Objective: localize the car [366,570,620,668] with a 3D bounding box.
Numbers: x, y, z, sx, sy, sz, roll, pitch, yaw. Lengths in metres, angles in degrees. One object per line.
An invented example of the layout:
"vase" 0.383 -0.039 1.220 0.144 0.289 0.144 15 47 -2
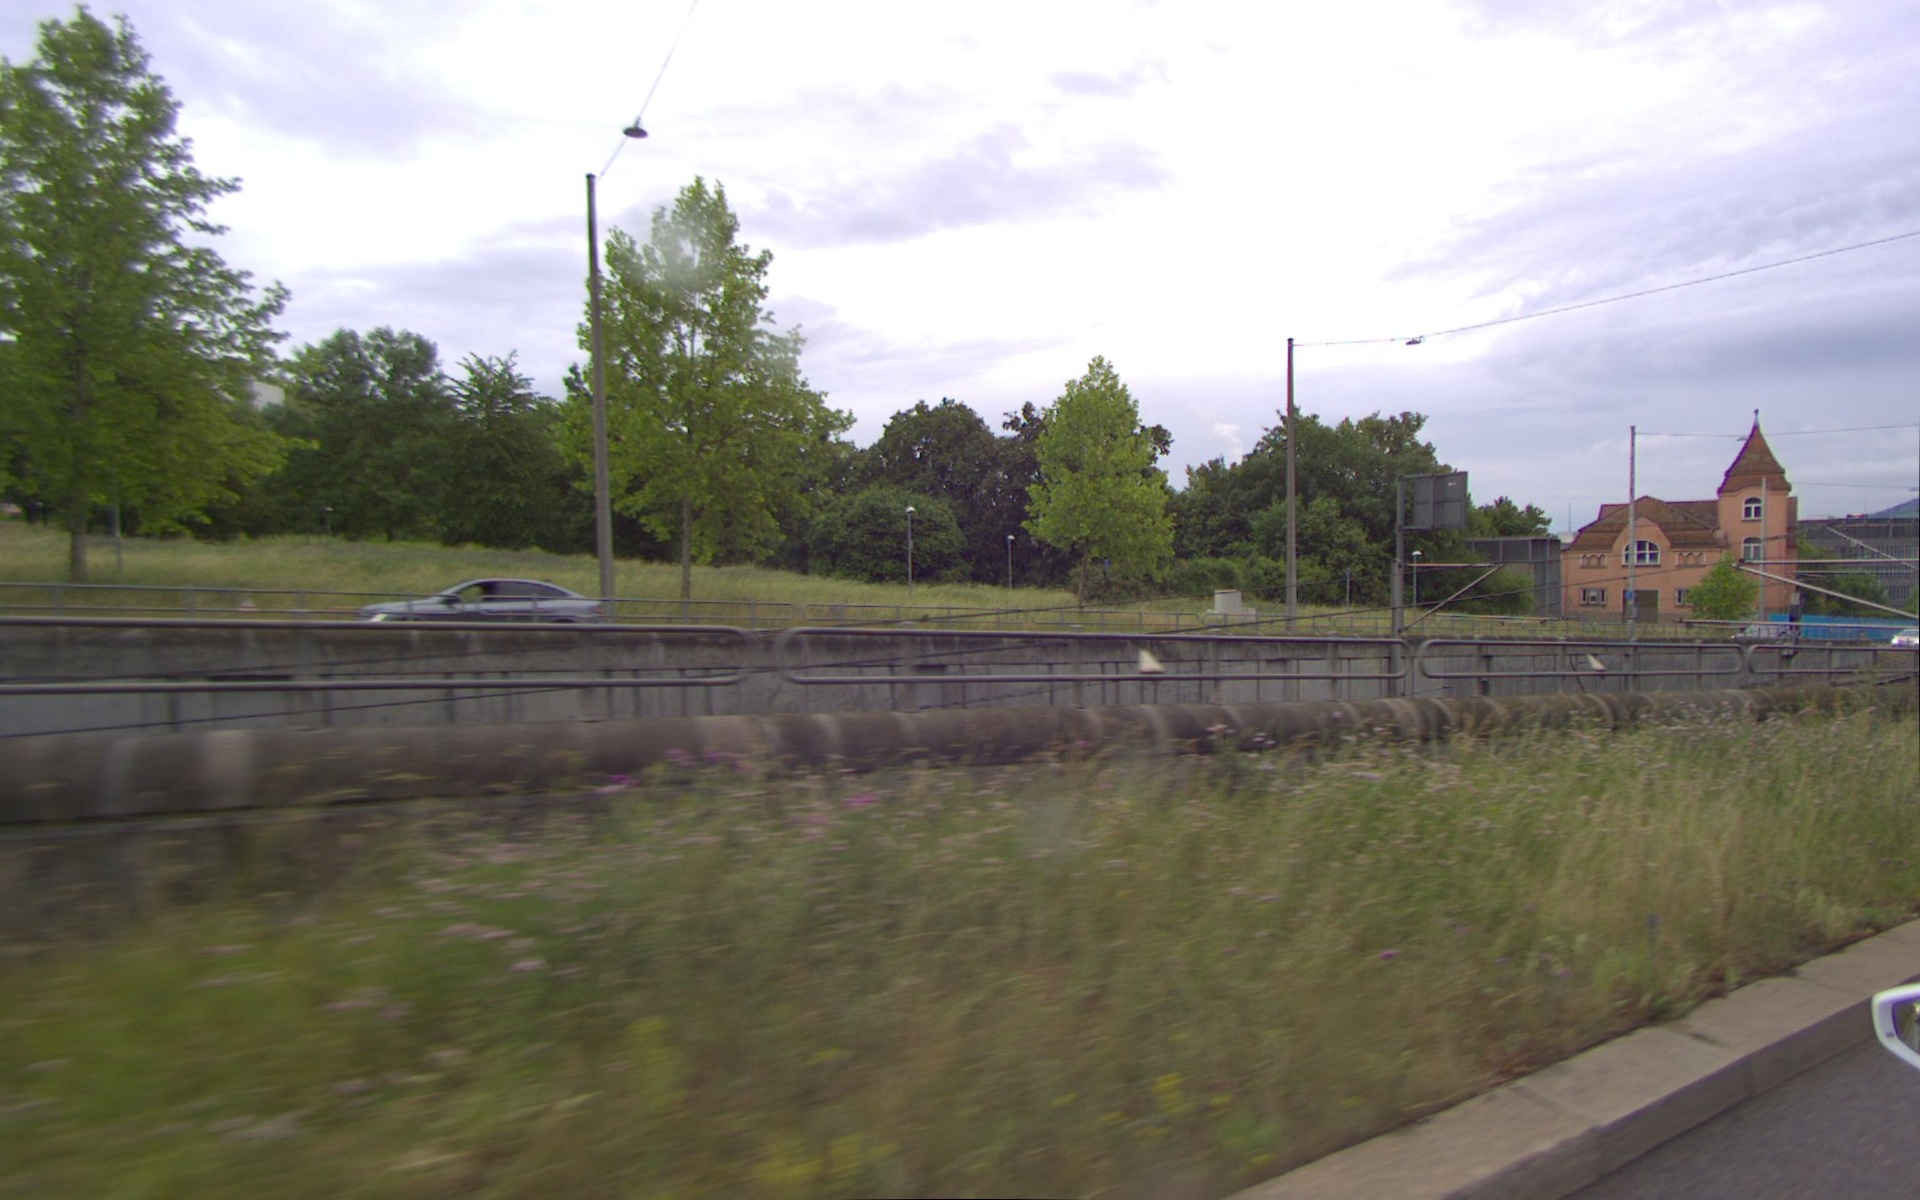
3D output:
"car" -9.110 0.364 19.717 4.307 1.666 1.881 2 3 -30

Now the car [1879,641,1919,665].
"car" 58.741 3.272 62.347 3.517 1.309 1.548 1 1 -30
